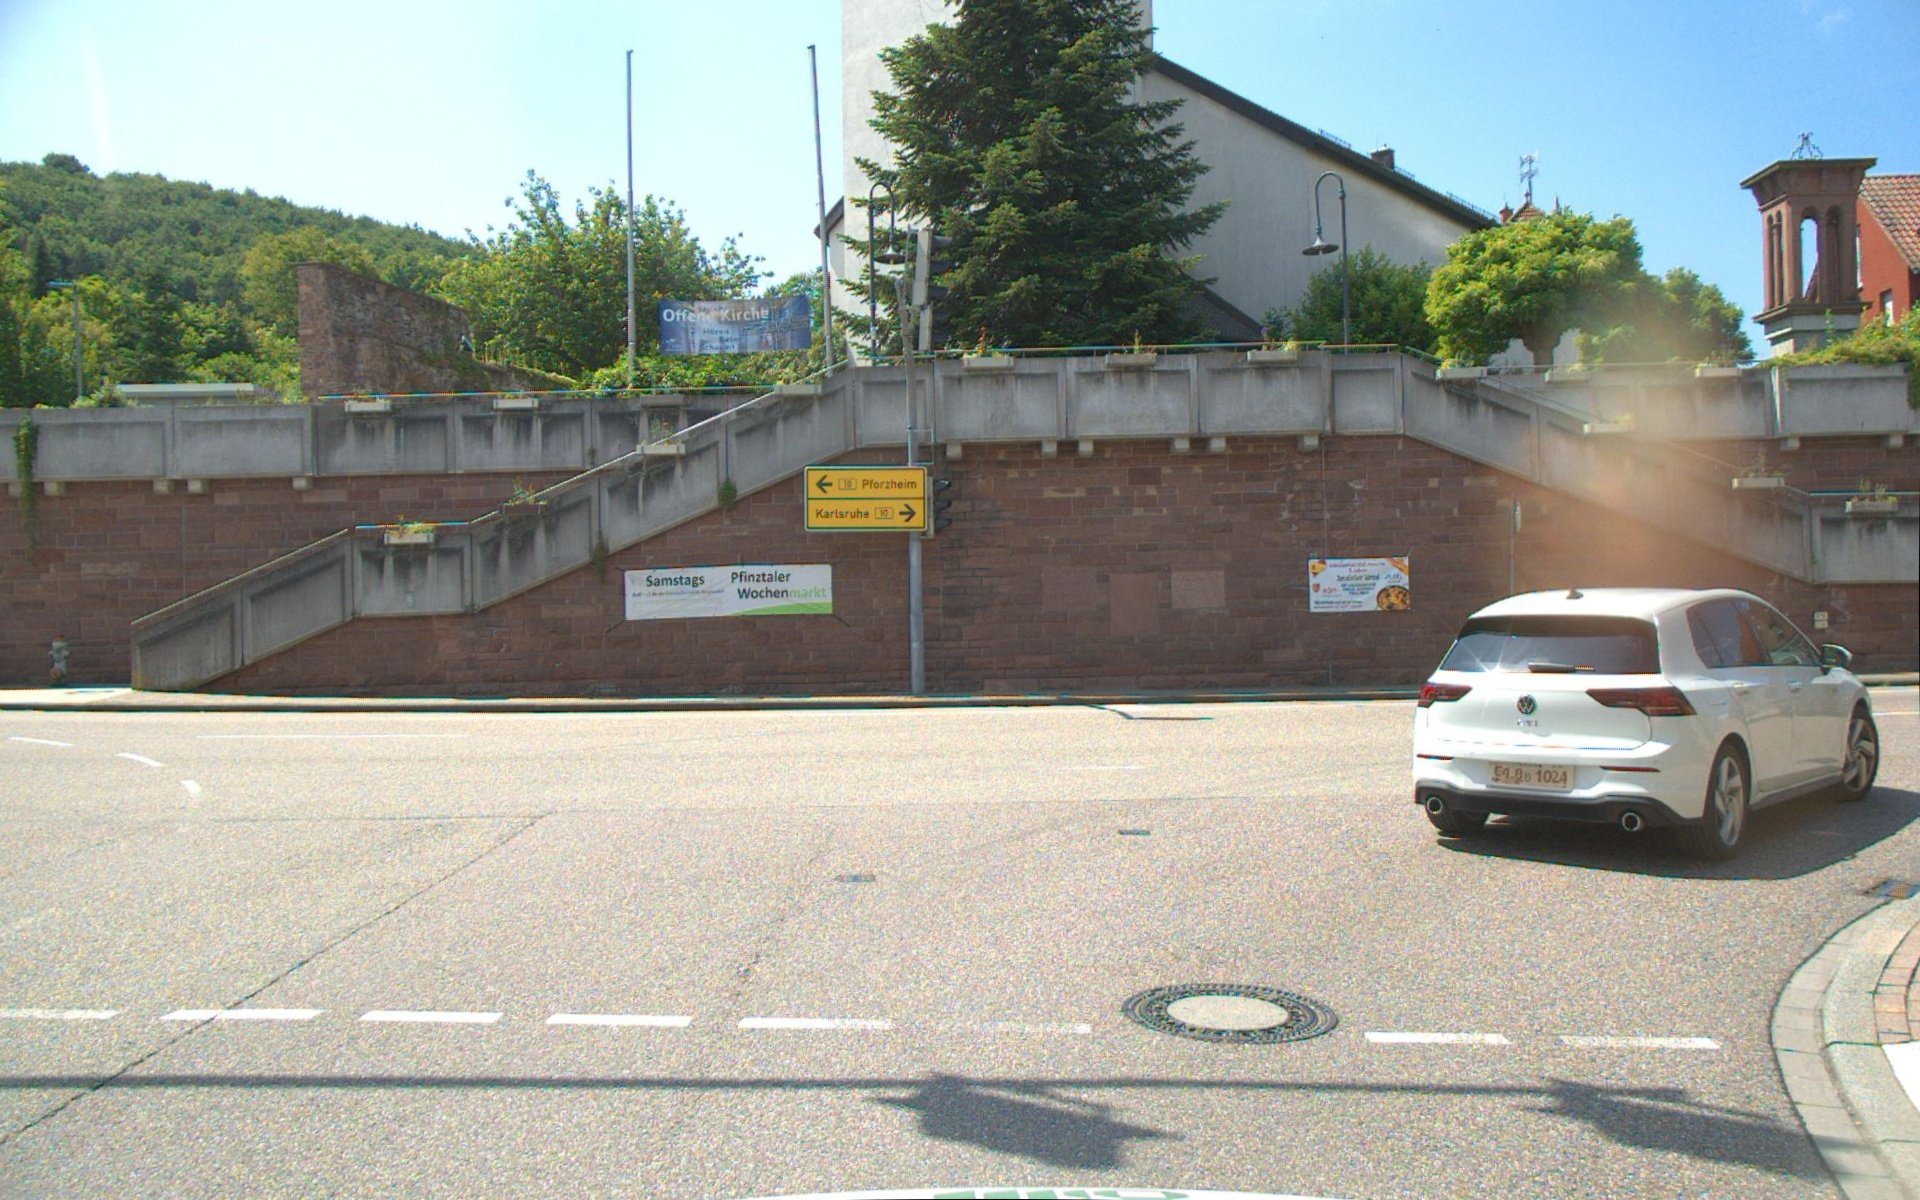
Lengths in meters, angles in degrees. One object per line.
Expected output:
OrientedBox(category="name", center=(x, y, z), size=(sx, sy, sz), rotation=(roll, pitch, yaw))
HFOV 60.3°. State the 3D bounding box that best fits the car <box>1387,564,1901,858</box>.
OrientedBox(category="car", center=(4.419, 0.557, 10.383), size=(1.757, 1.484, 3.839), rotation=(-2, -1, 43))
